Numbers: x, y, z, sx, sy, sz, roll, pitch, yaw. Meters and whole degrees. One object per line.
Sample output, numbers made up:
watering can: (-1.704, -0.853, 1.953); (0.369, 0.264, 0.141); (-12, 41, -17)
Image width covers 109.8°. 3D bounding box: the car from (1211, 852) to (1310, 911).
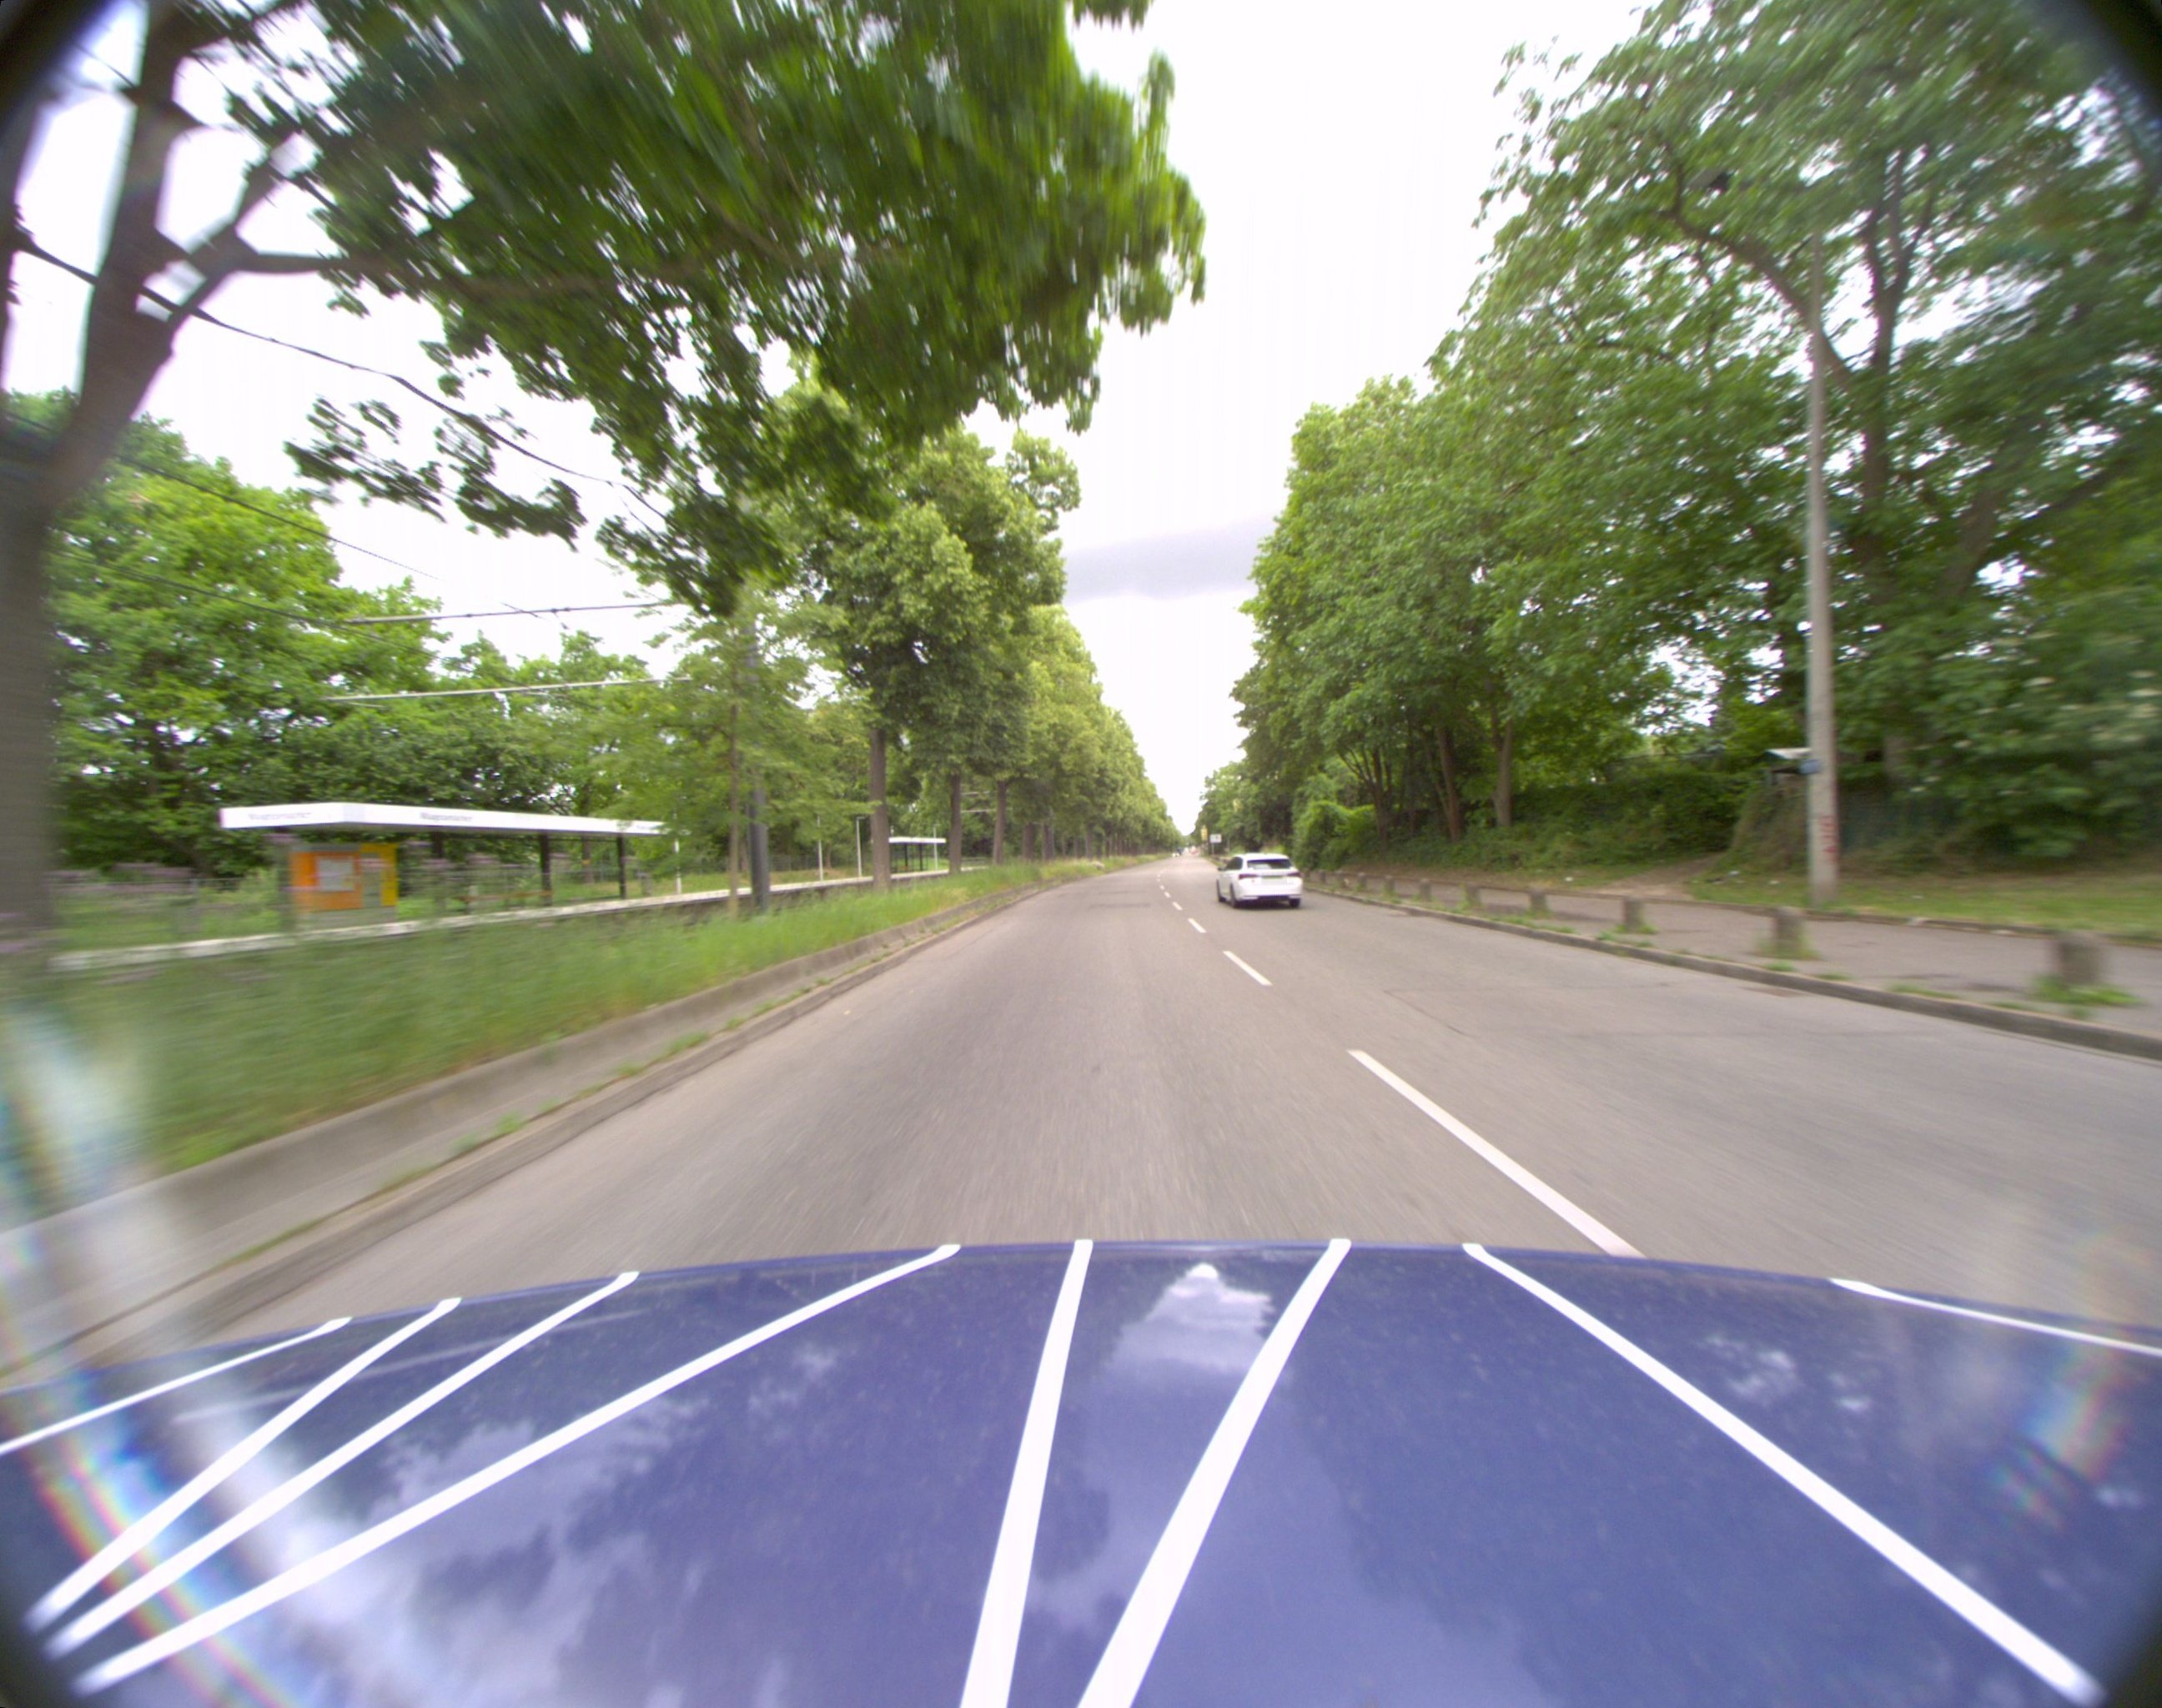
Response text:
car: (4.874, 0.683, 21.233); (1.777, 1.431, 4.361); (-1, 0, 1)
